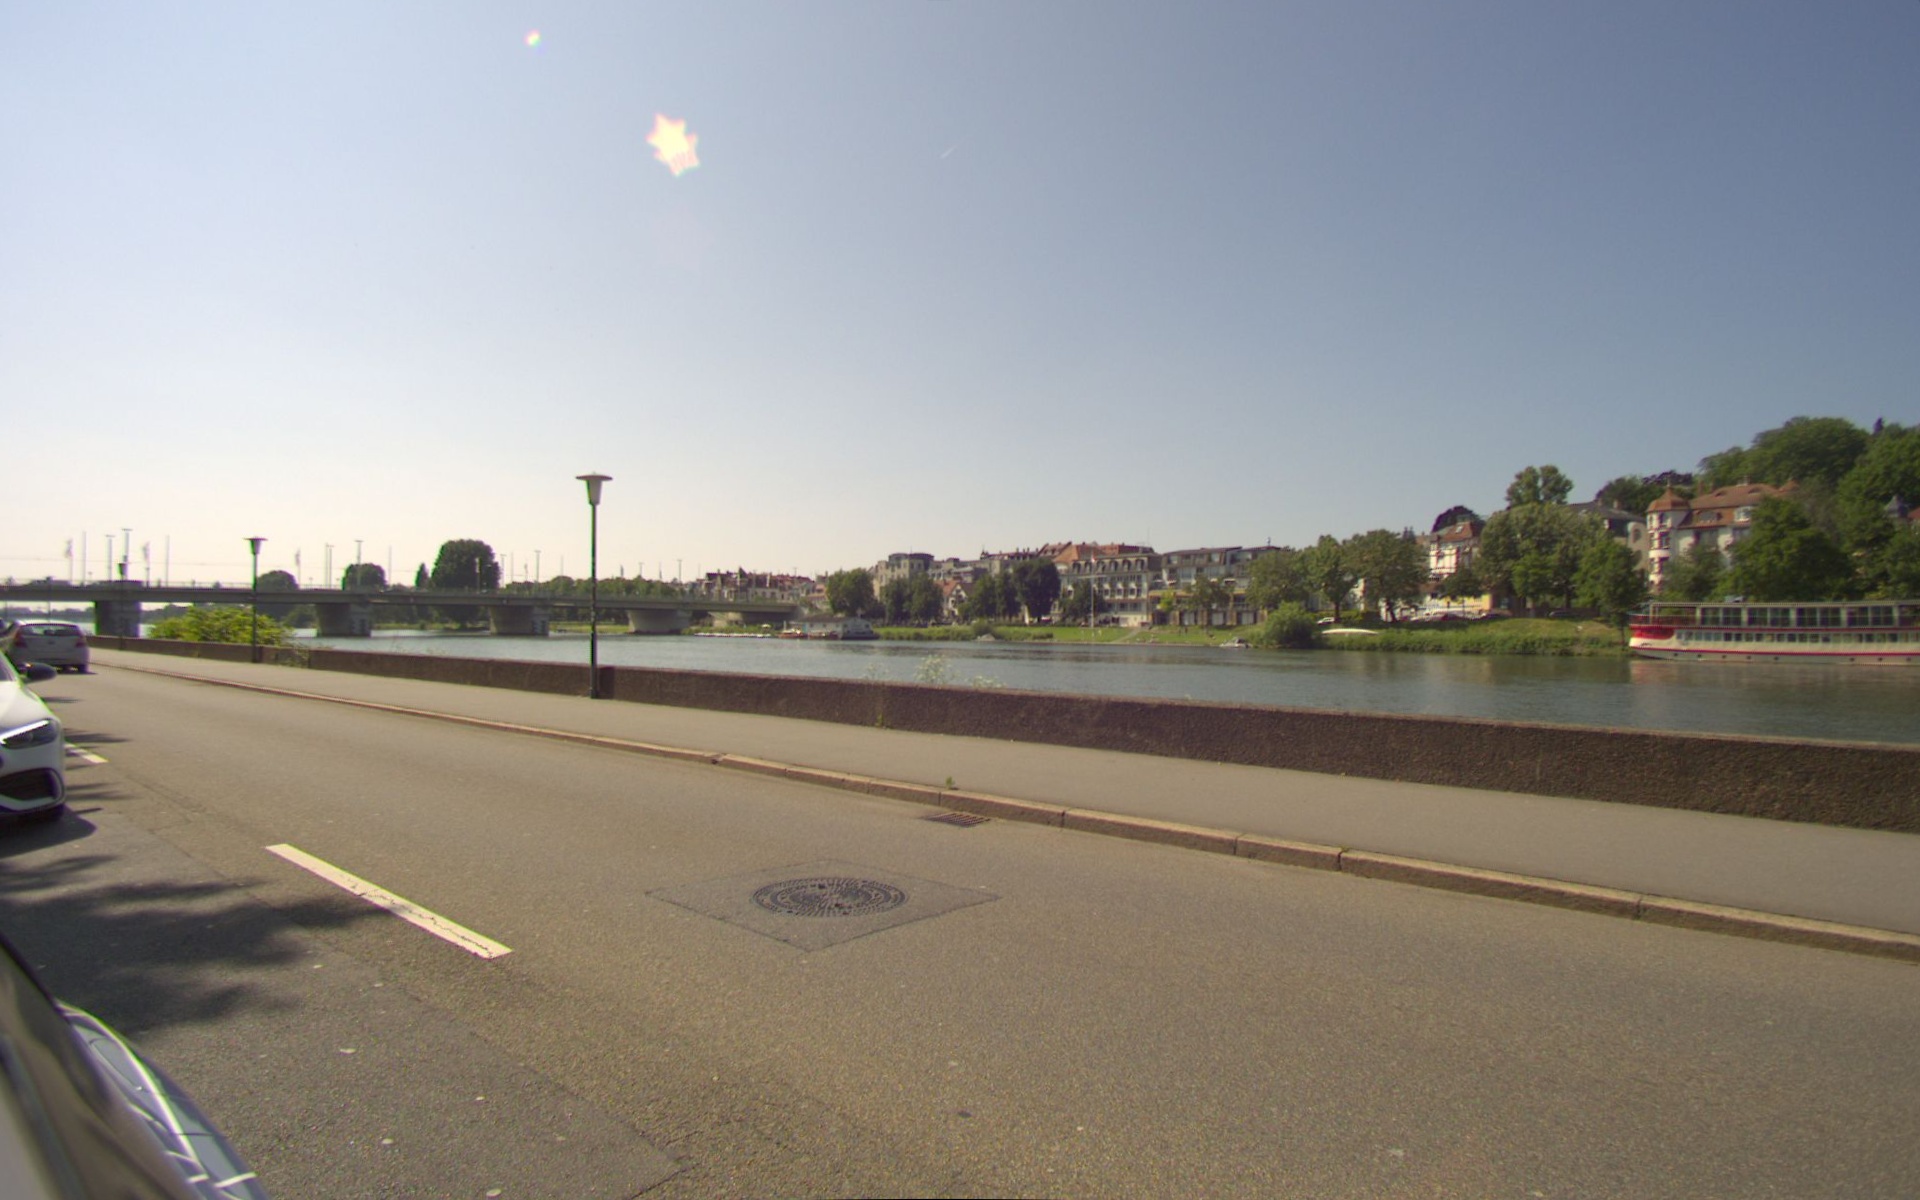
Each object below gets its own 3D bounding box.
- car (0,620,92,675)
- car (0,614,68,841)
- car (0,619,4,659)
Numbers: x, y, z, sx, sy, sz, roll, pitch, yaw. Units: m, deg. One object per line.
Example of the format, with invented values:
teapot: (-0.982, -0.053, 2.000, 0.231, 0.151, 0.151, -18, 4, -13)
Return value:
car: (-26.212, 1.337, 28.744, 4.042, 1.453, 1.714, -1, -3, 41)
car: (-8.163, 0.850, 7.482, 4.550, 1.430, 1.807, -1, -1, 41)
car: (-42.507, 1.641, 43.399, 4.174, 1.662, 1.714, -1, -3, 41)
